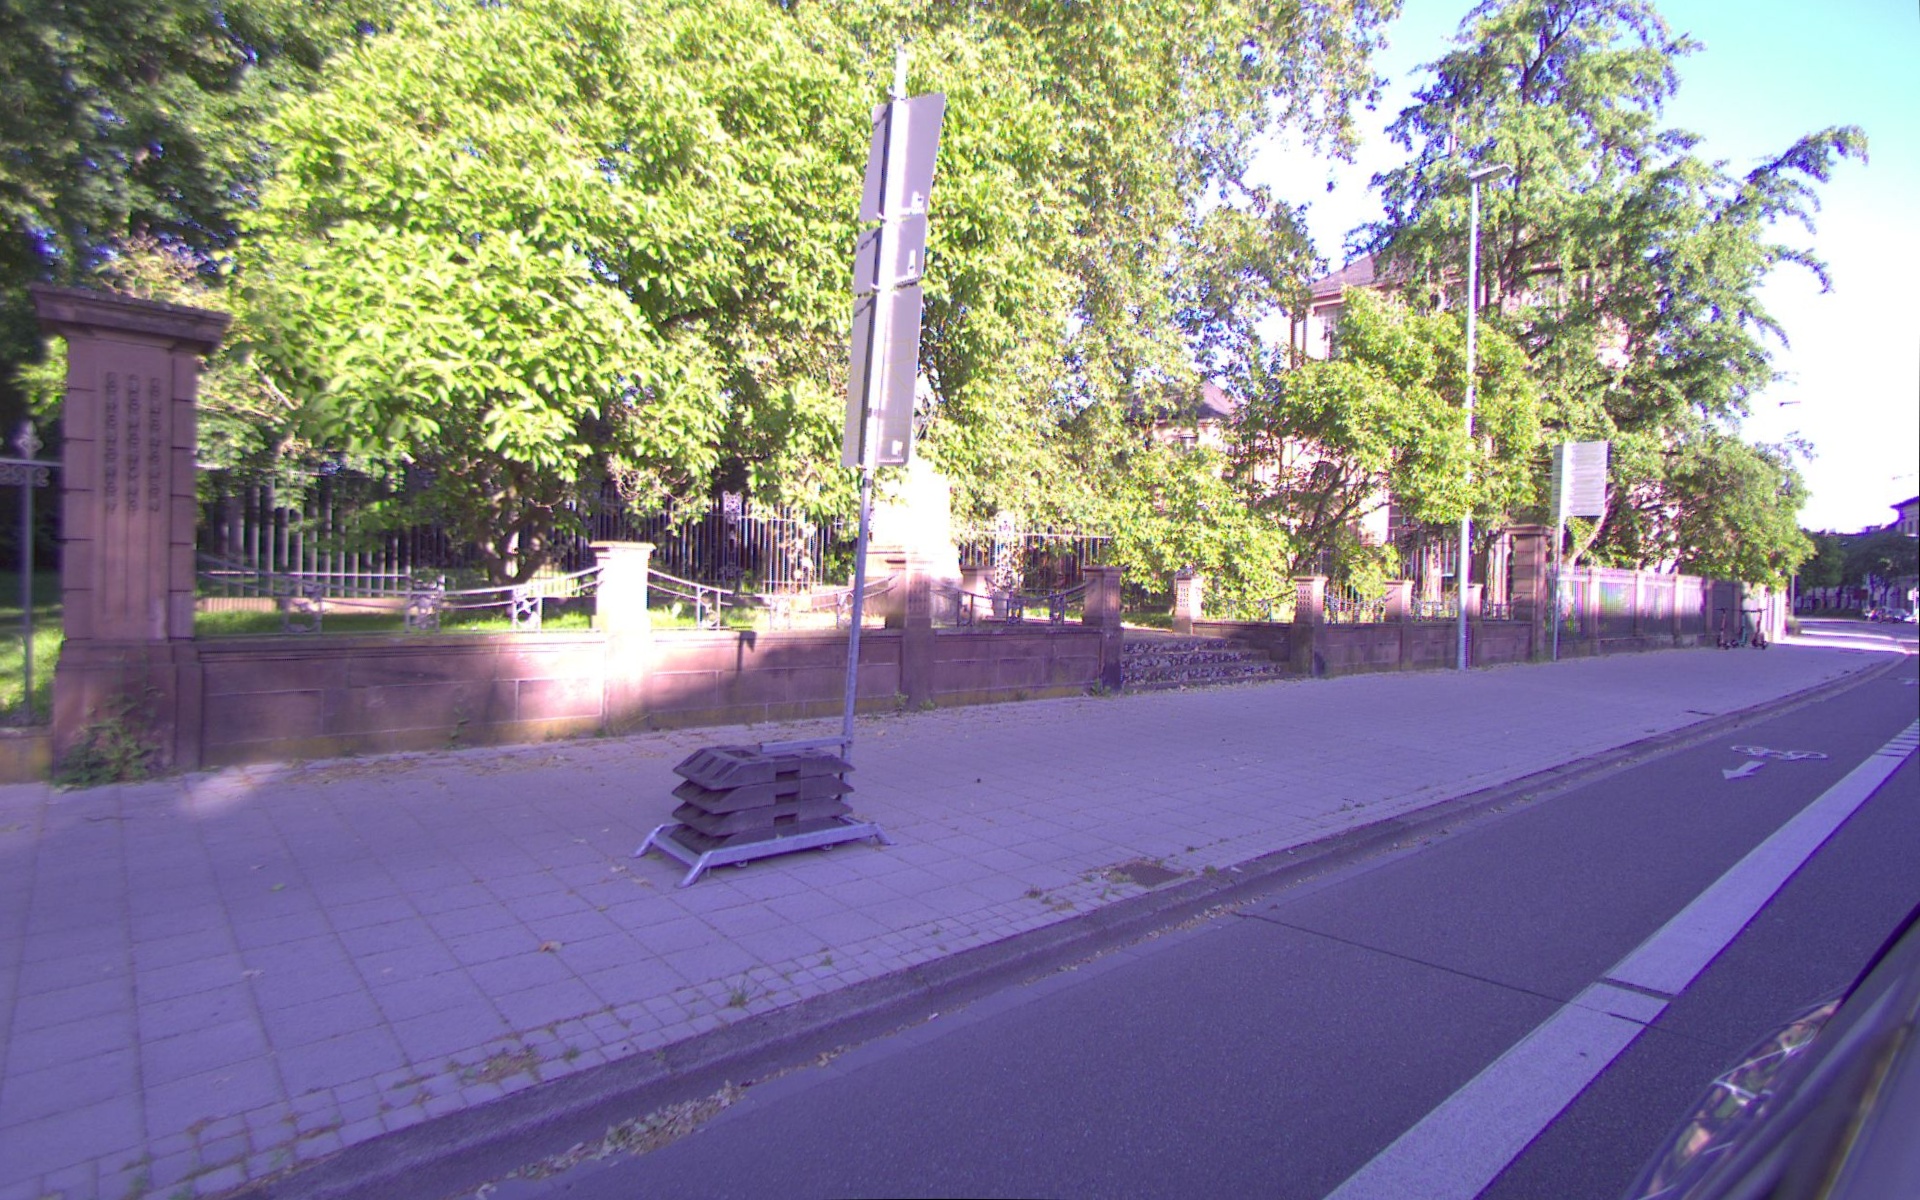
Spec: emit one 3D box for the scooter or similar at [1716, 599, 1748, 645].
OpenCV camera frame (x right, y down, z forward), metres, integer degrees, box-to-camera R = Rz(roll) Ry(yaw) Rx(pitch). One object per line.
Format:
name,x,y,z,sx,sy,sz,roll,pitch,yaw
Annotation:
scooter or similar,22.269,0.611,29.216,0.572,1.269,1.470,2,2,33

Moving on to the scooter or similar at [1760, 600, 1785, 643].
scooter or similar,24.716,0.638,30.790,0.514,1.255,1.502,2,2,37

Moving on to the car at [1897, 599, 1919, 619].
car,91.400,0.848,97.003,3.930,1.905,1.866,0,1,-41

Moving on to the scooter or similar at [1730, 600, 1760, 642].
scooter or similar,23.617,0.627,30.441,0.574,1.199,1.465,3,2,41
